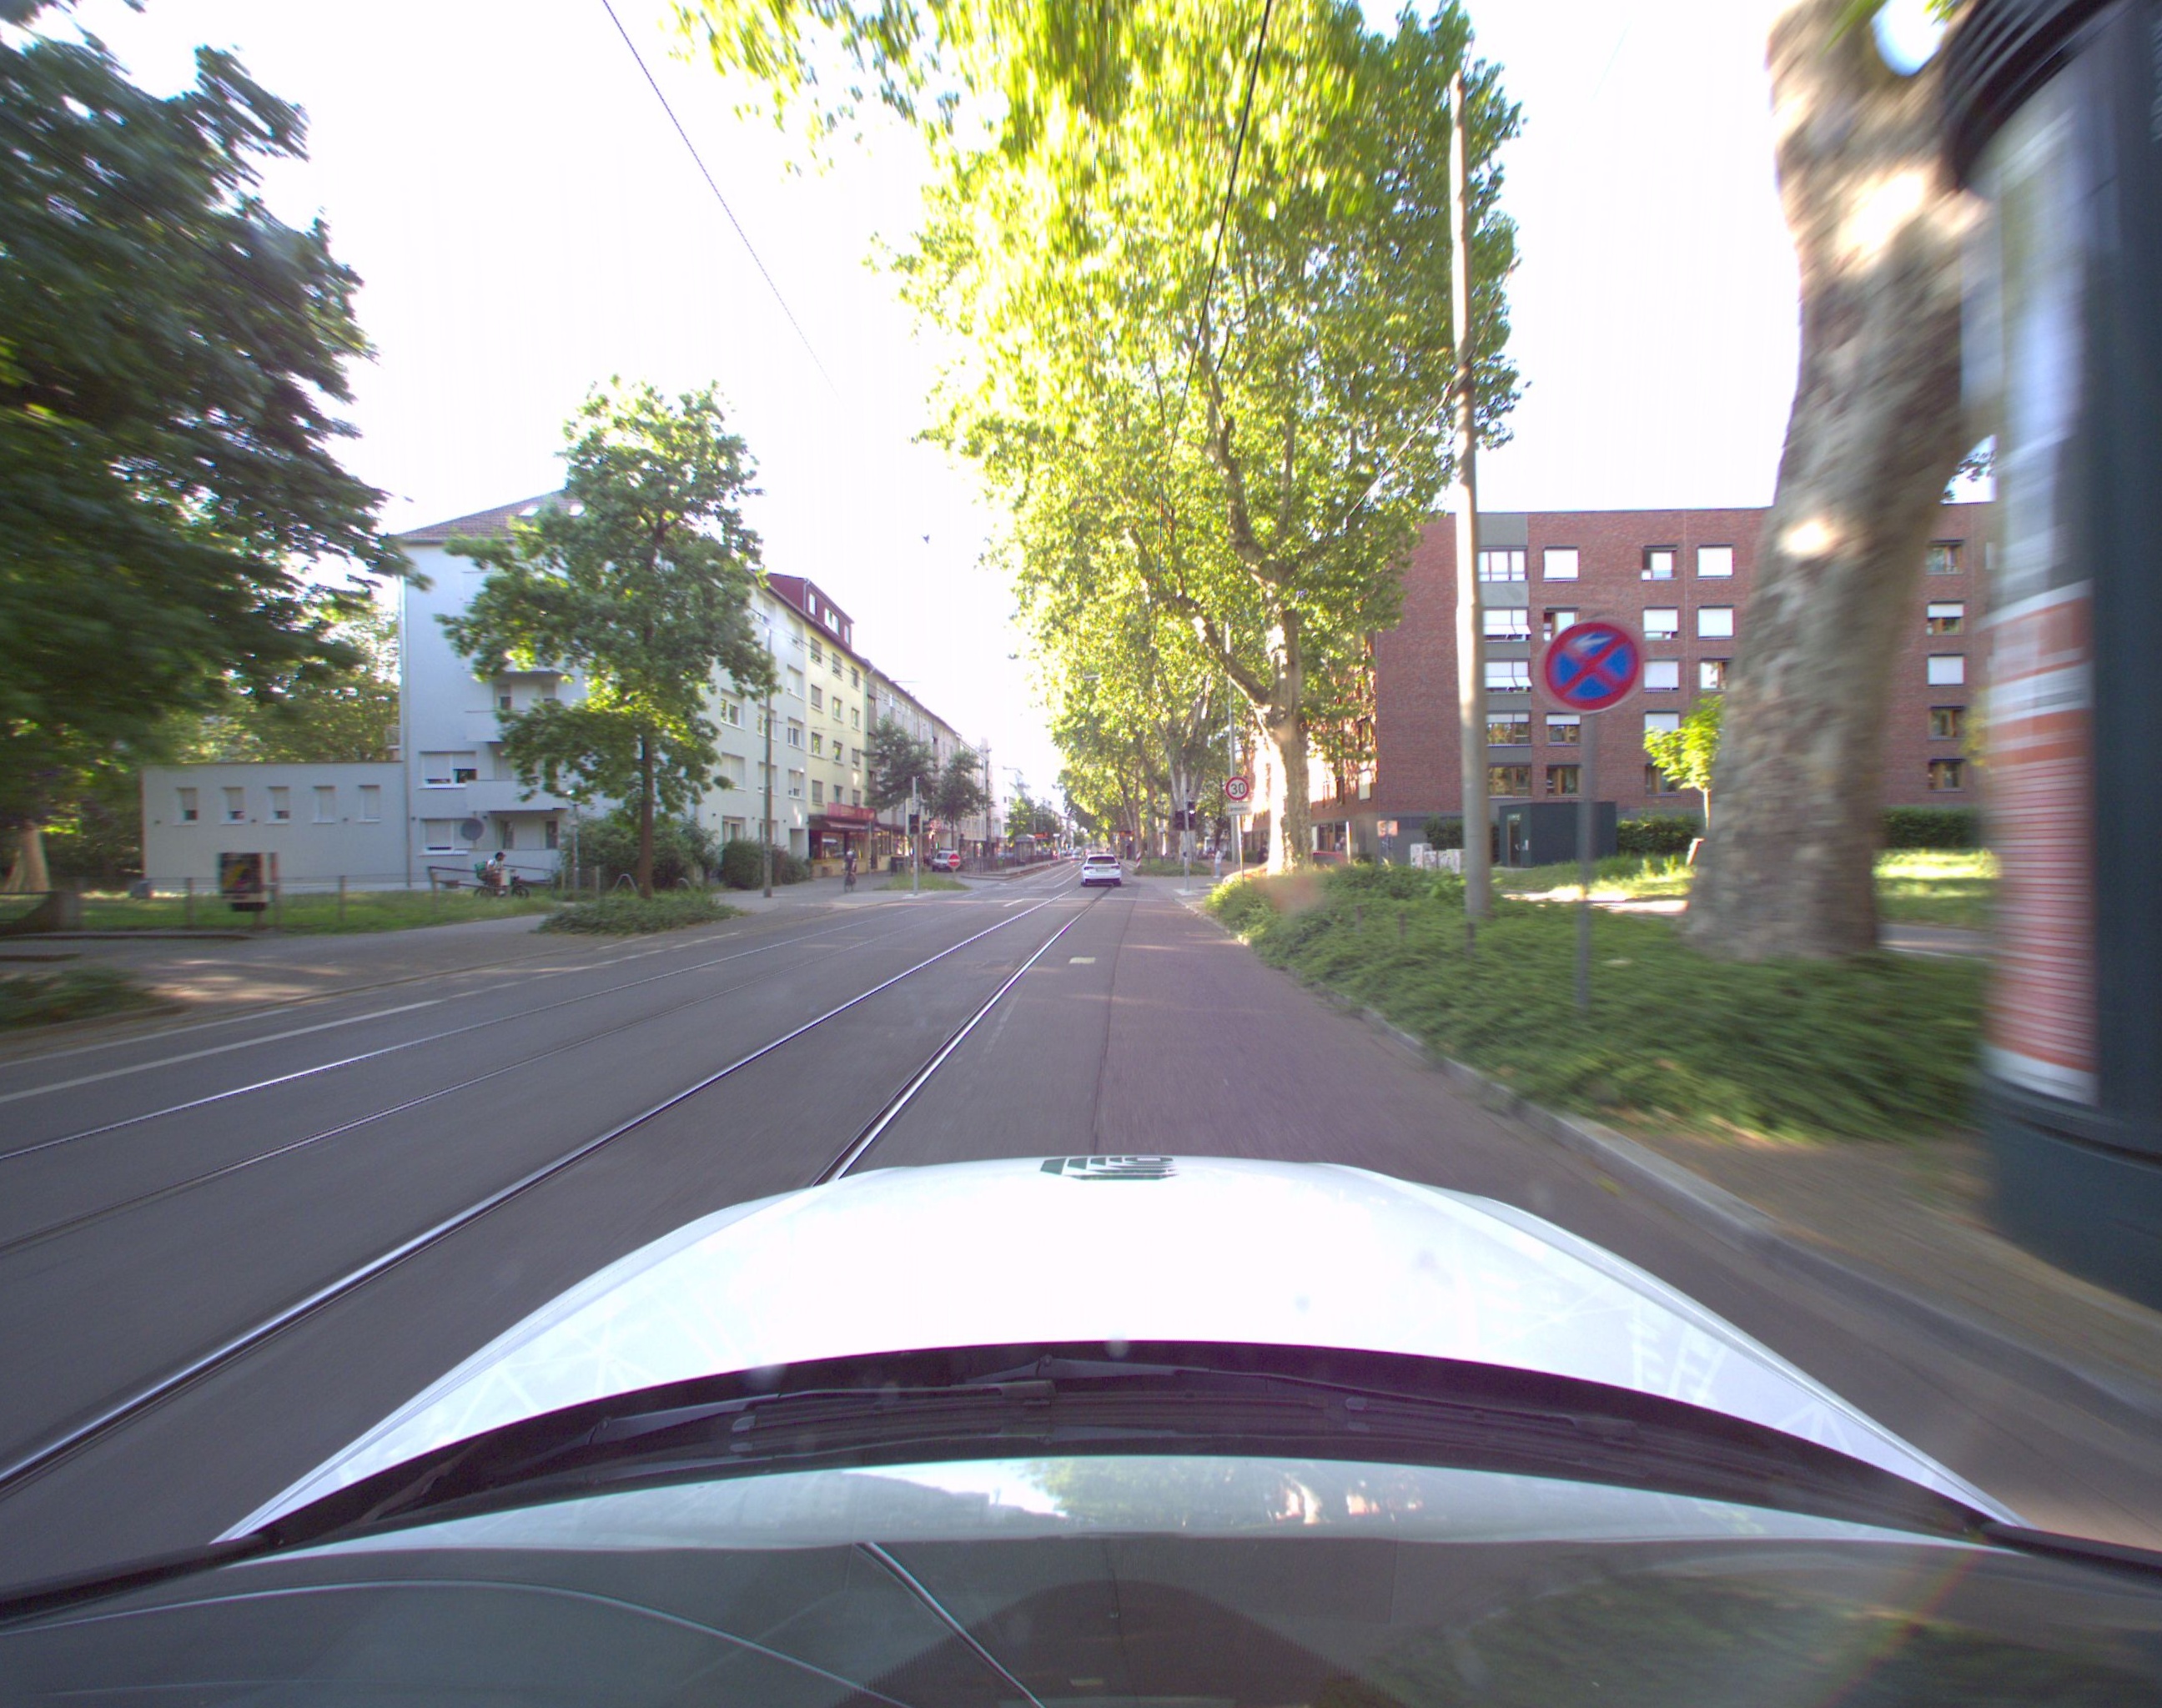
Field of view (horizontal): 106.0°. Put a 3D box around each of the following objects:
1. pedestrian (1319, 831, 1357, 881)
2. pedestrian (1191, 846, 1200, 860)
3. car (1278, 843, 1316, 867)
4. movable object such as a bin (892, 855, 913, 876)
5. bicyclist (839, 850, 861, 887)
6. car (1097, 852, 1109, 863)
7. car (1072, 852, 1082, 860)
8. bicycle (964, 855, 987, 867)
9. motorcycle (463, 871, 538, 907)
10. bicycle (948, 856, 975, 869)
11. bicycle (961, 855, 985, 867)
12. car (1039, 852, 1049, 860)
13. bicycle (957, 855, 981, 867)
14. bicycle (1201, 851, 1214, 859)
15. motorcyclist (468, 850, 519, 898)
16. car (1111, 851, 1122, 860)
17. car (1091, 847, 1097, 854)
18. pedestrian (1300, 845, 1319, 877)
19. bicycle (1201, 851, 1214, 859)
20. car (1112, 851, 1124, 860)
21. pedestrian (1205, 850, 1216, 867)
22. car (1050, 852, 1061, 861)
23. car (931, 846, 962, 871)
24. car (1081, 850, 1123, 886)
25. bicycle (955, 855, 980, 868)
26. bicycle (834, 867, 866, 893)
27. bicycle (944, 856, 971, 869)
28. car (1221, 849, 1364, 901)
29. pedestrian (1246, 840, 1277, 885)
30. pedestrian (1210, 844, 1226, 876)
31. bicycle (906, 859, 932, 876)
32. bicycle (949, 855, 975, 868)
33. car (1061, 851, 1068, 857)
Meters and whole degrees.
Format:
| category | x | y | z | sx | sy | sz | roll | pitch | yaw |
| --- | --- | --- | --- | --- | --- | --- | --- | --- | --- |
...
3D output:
| category | x | y | z | sx | sy | sz | roll | pitch | yaw |
| --- | --- | --- | --- | --- | --- | --- | --- | --- | --- |
| pedestrian | 10.176 | 0.085 | 32.267 | 0.980 | 1.863 | 1.014 | -5 | 0 | -4 |
| pedestrian | 13.826 | -0.104 | 98.224 | 0.969 | 1.623 | 0.888 | -1 | 0 | 1 |
| car | 14.221 | 0.037 | 53.765 | 1.595 | 1.495 | 3.416 | -1 | 0 | 0 |
| movable object such as a bin | -11.567 | 0.740 | 52.704 | 1.167 | 1.348 | 0.782 | 3 | 0 | -3 |
| bicyclist | -9.540 | 0.589 | 33.628 | 0.639 | 1.455 | 0.837 | -2 | 0 | 0 |
| car | 3.333 | 0.522 | 124.583 | 1.782 | 1.513 | 4.001 | -1 | 0 | 1 |
| car | -0.768 | 0.363 | 145.640 | 1.688 | 1.419 | 4.001 | -1 | 0 | 1 |
| bicycle | -10.712 | 0.706 | 82.548 | 2.244 | 1.074 | 0.637 | 2 | 0 | 2 |
| motorcycle | -17.906 | 1.067 | 25.135 | 1.864 | 1.032 | 0.597 | -1 | 0 | 1 |
| bicycle | -10.790 | 0.730 | 73.567 | 2.244 | 1.074 | 0.637 | 2 | 0 | 2 |
| bicycle | -10.685 | 0.711 | 80.843 | 2.244 | 1.074 | 0.637 | 2 | 0 | 2 |
| car | -7.483 | 0.448 | 164.724 | 1.672 | 1.548 | 4.001 | 1 | 0 | 1 |
| bicycle | -10.875 | 0.702 | 79.014 | 2.244 | 1.074 | 0.637 | 2 | 0 | 2 |
| bicycle | 16.108 | 0.117 | 103.800 | 1.552 | 1.037 | 0.482 | -1 | 0 | 22 |
| motorcyclist | -18.118 | 0.605 | 25.138 | 1.096 | 1.449 | 0.597 | -1 | 0 | 1 |
| car | 6.599 | 0.266 | 152.005 | 1.986 | 1.453 | 4.001 | -1 | 0 | 1 |
| car | 3.821 | -0.917 | 236.076 | 1.859 | 1.892 | 4.001 | -1 | 0 | 1 |
| pedestrian | 12.248 | 0.382 | 43.644 | 0.733 | 1.669 | 0.835 | -1 | 0 | 0 |
| bicycle | 16.297 | 0.113 | 104.713 | 1.552 | 1.037 | 0.507 | -1 | 0 | 22 |
| car | 6.659 | 0.272 | 146.916 | 1.986 | 1.453 | 4.001 | -1 | 0 | 1 |
| pedestrian | 12.794 | 0.419 | 80.464 | 0.969 | 1.623 | 0.888 | -1 | 0 | 1 |
| car | -4.462 | 0.496 | 144.588 | 1.672 | 1.548 | 4.001 | 1 | 0 | 1 |
| car | -10.851 | 0.378 | 66.012 | 1.682 | 1.940 | 4.001 | -1 | 0 | 1 |
| car | 0.949 | 0.579 | 36.689 | 1.782 | 1.513 | 4.001 | -1 | 0 | 1 |
| bicycle | -10.766 | 0.703 | 77.265 | 2.244 | 1.074 | 0.637 | 2 | 0 | 2 |
| bicycle | -9.518 | 1.044 | 33.619 | 0.639 | 0.987 | 2.101 | -2 | 0 | 1 |
| bicycle | -10.876 | 0.721 | 71.920 | 2.244 | 1.074 | 0.637 | 2 | 0 | 2 |
| car | 6.208 | 0.603 | 24.179 | 3.867 | 1.423 | 1.650 | -1 | 0 | 4 |
| pedestrian | 7.461 | 0.350 | 33.657 | 0.992 | 1.811 | 0.863 | -1 | 0 | -4 |
| pedestrian | 7.102 | 0.305 | 42.208 | 0.650 | 1.669 | 0.738 | -1 | 0 | 0 |
| bicycle | -10.867 | 0.897 | 54.767 | 1.528 | 1.075 | 0.885 | 2 | 0 | 0 |
| bicycle | -11.025 | 0.692 | 75.217 | 2.244 | 1.074 | 0.637 | 2 | 0 | 2 |
| car | -4.930 | 0.015 | 240.480 | 1.782 | 1.513 | 4.001 | -1 | 0 | 1 |
